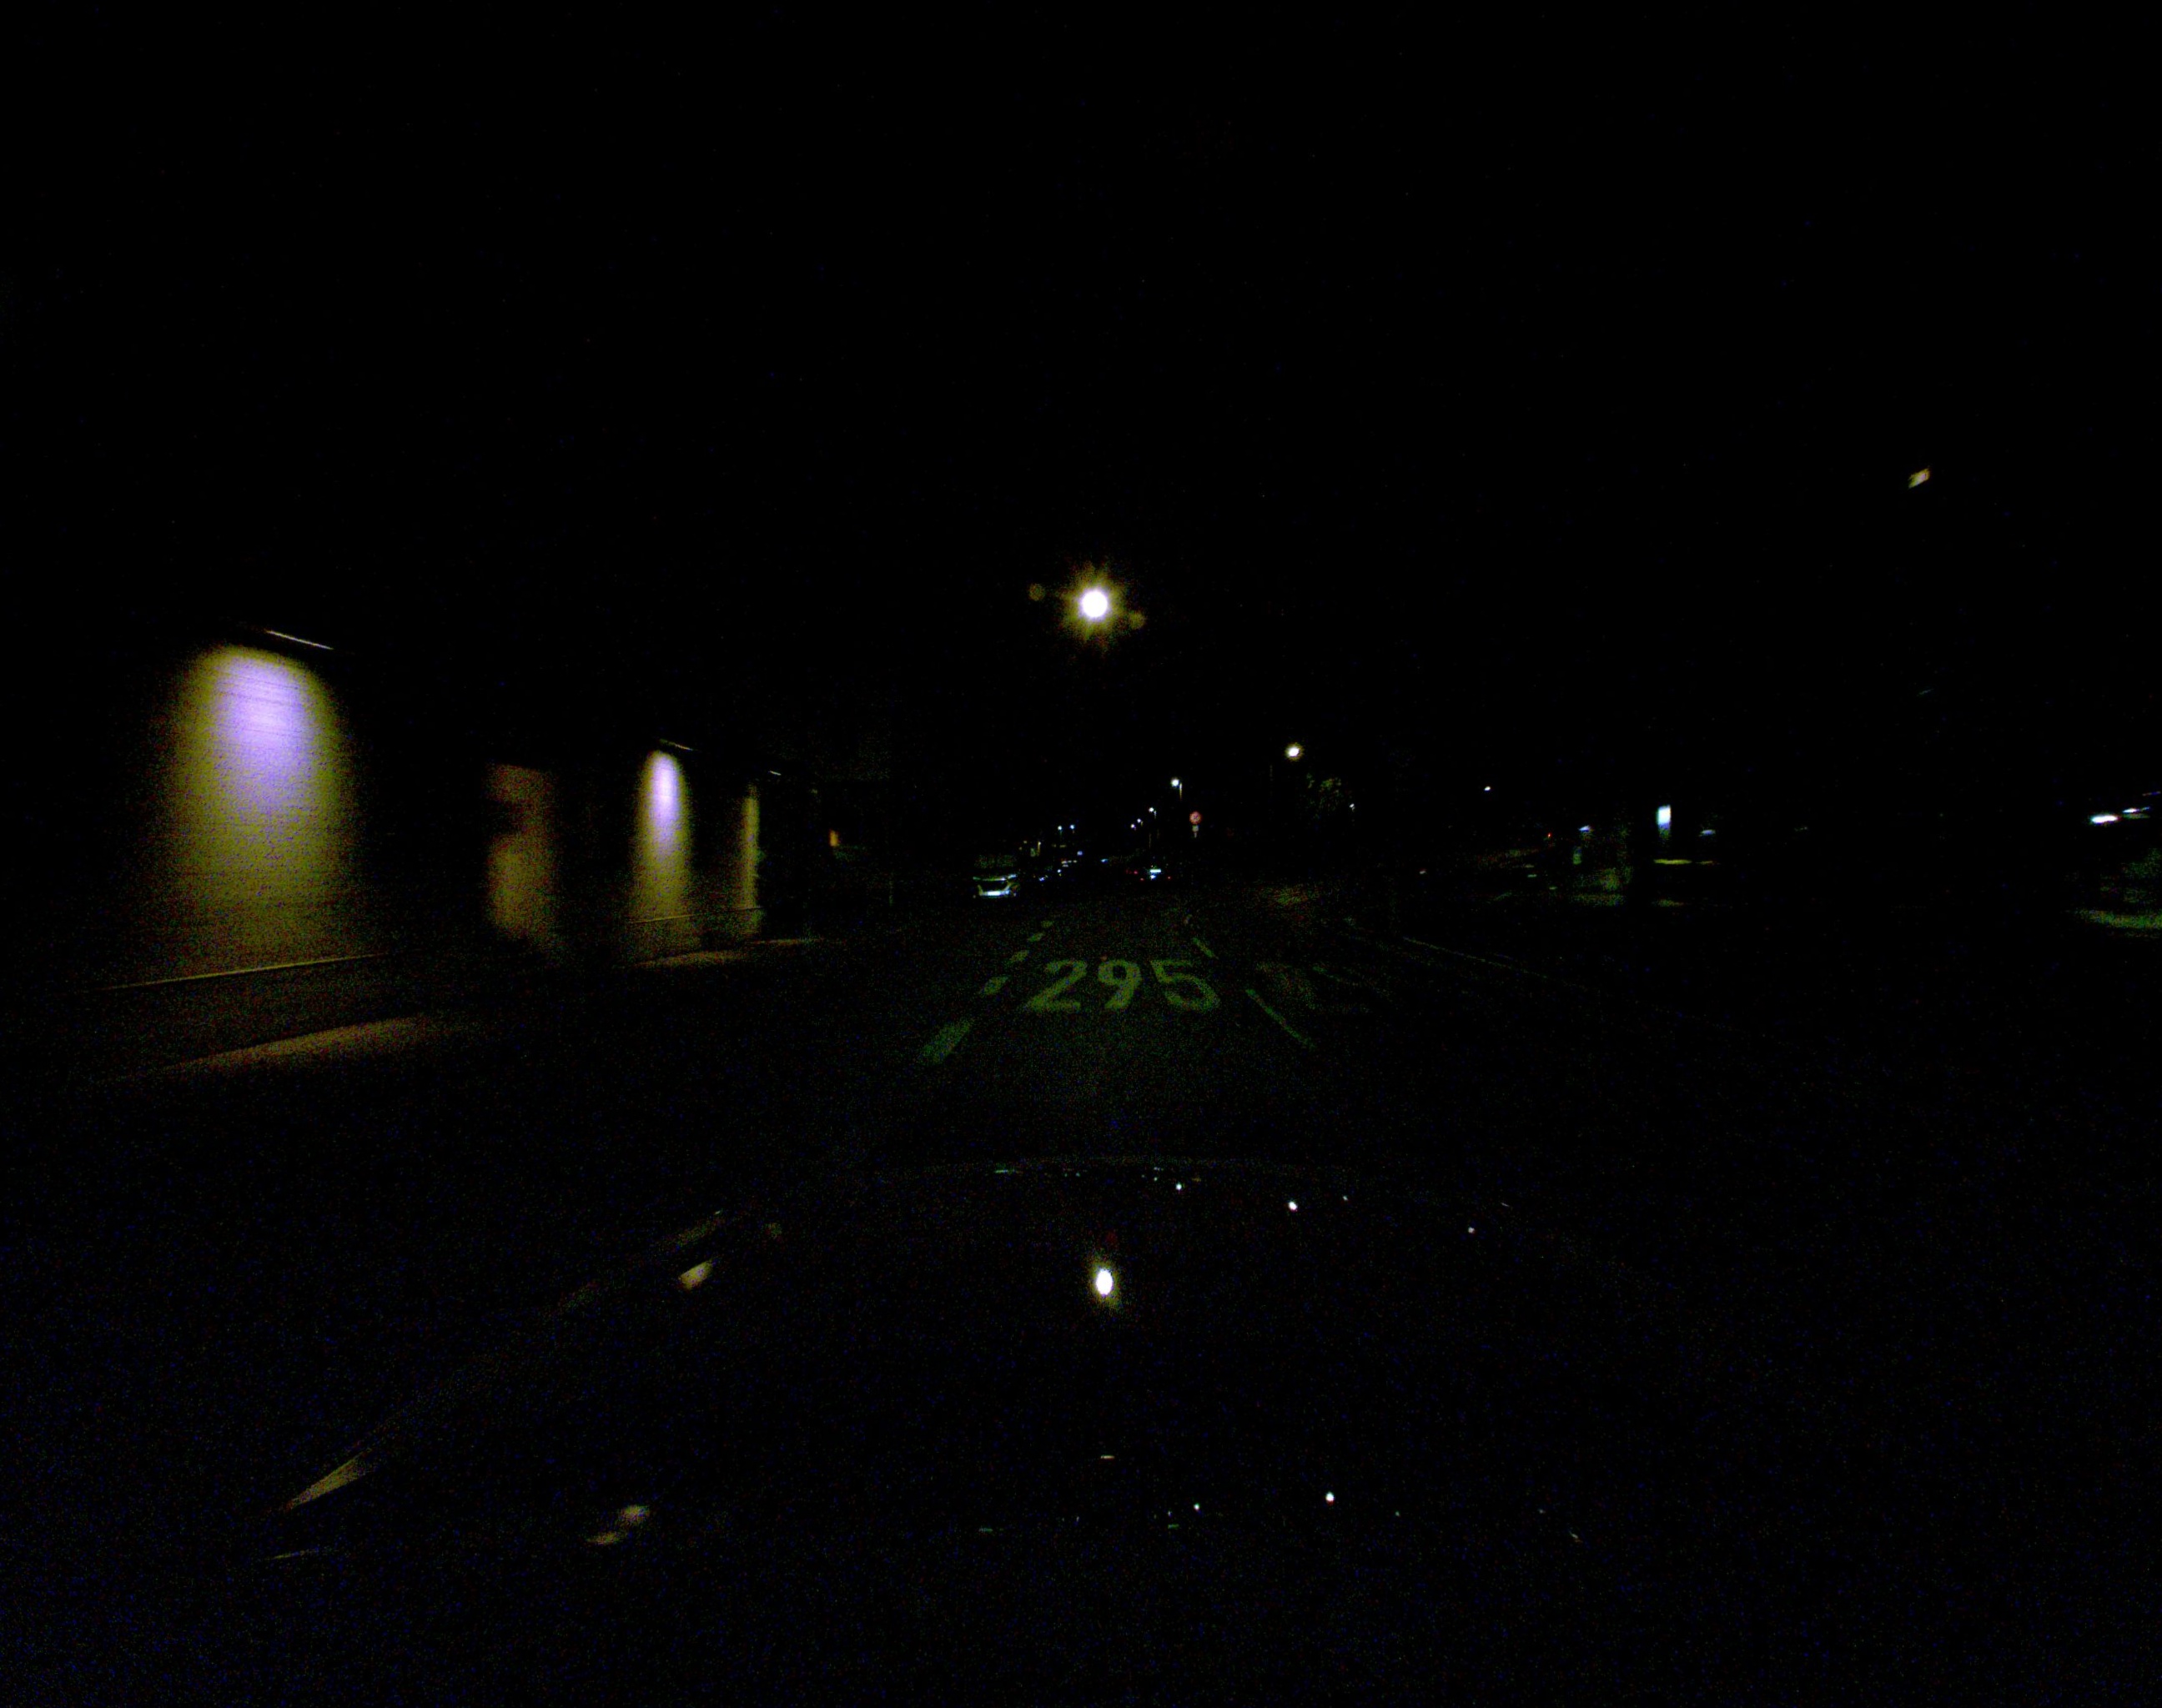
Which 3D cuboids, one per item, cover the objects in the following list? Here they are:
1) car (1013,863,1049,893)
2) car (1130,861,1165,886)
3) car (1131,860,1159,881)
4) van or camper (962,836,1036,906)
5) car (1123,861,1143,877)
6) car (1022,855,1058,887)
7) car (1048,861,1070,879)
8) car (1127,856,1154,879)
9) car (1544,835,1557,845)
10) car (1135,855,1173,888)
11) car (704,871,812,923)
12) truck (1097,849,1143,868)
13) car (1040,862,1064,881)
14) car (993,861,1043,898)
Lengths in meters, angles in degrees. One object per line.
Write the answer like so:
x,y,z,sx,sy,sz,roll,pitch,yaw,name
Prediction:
-2.821,1.275,44.808,1.836,1.507,4.733,-2,-1,-5,car
3.988,1.164,49.401,1.956,1.383,4.002,-1,-1,2,car
4.787,1.222,61.579,1.873,1.415,4.475,-3,-1,3,car
-3.258,0.674,33.743,2.150,2.535,6.228,-3,-1,1,van or camper
4.978,1.376,78.188,1.752,1.445,4.026,-2,-1,1,car
-2.697,1.114,54.777,1.986,1.955,4.807,-1,-1,2,car
-1.969,1.454,72.994,1.671,1.566,4.106,-1,-1,1,car
4.851,1.128,66.925,2.032,1.694,4.884,-3,-1,2,car
92.812,-2.841,160.956,1.906,1.854,4.025,-2,-1,34,car
3.906,0.946,44.022,1.876,1.603,4.111,-3,-1,4,car
-10.198,1.342,25.852,2.799,1.513,1.490,-1,-1,1,car
5.805,0.659,121.564,6.757,2.844,1.999,-1,0,-2,truck
-2.375,1.419,67.091,1.699,1.510,4.100,0,-1,1,car
-2.984,1.179,39.227,1.885,1.591,4.375,-3,-1,1,car
